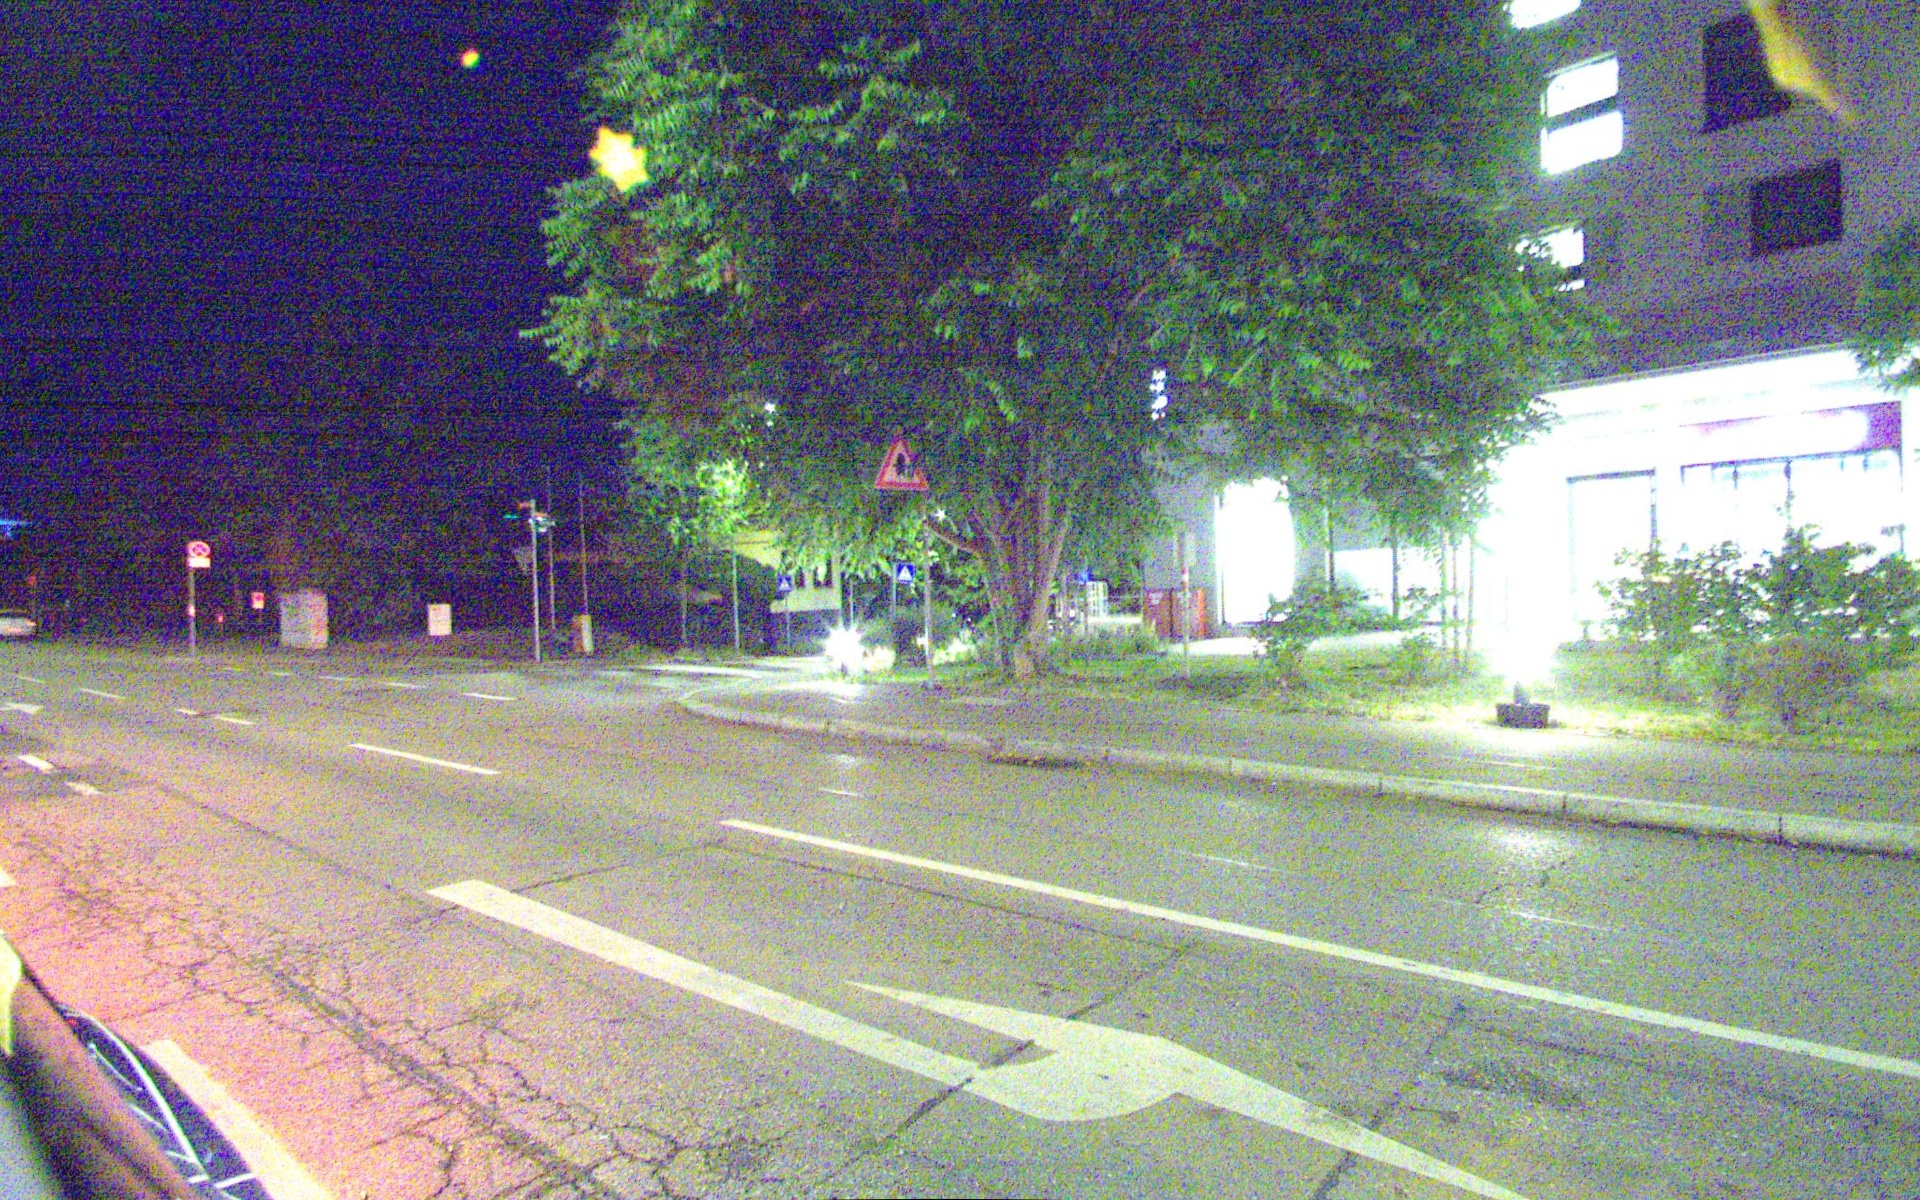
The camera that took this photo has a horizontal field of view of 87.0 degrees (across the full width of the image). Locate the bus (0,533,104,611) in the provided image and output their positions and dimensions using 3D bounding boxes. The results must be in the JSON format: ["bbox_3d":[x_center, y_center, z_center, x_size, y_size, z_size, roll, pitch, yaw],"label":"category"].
[{"bbox_3d":[-88.397,-2.497,98.135,14.776,6.990,6.056,-1,0,41],"label":"bus"}]

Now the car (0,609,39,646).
[{"bbox_3d":[-43.190,1.227,45.684,3.996,1.604,1.784,-1,0,39],"label":"car"}]
